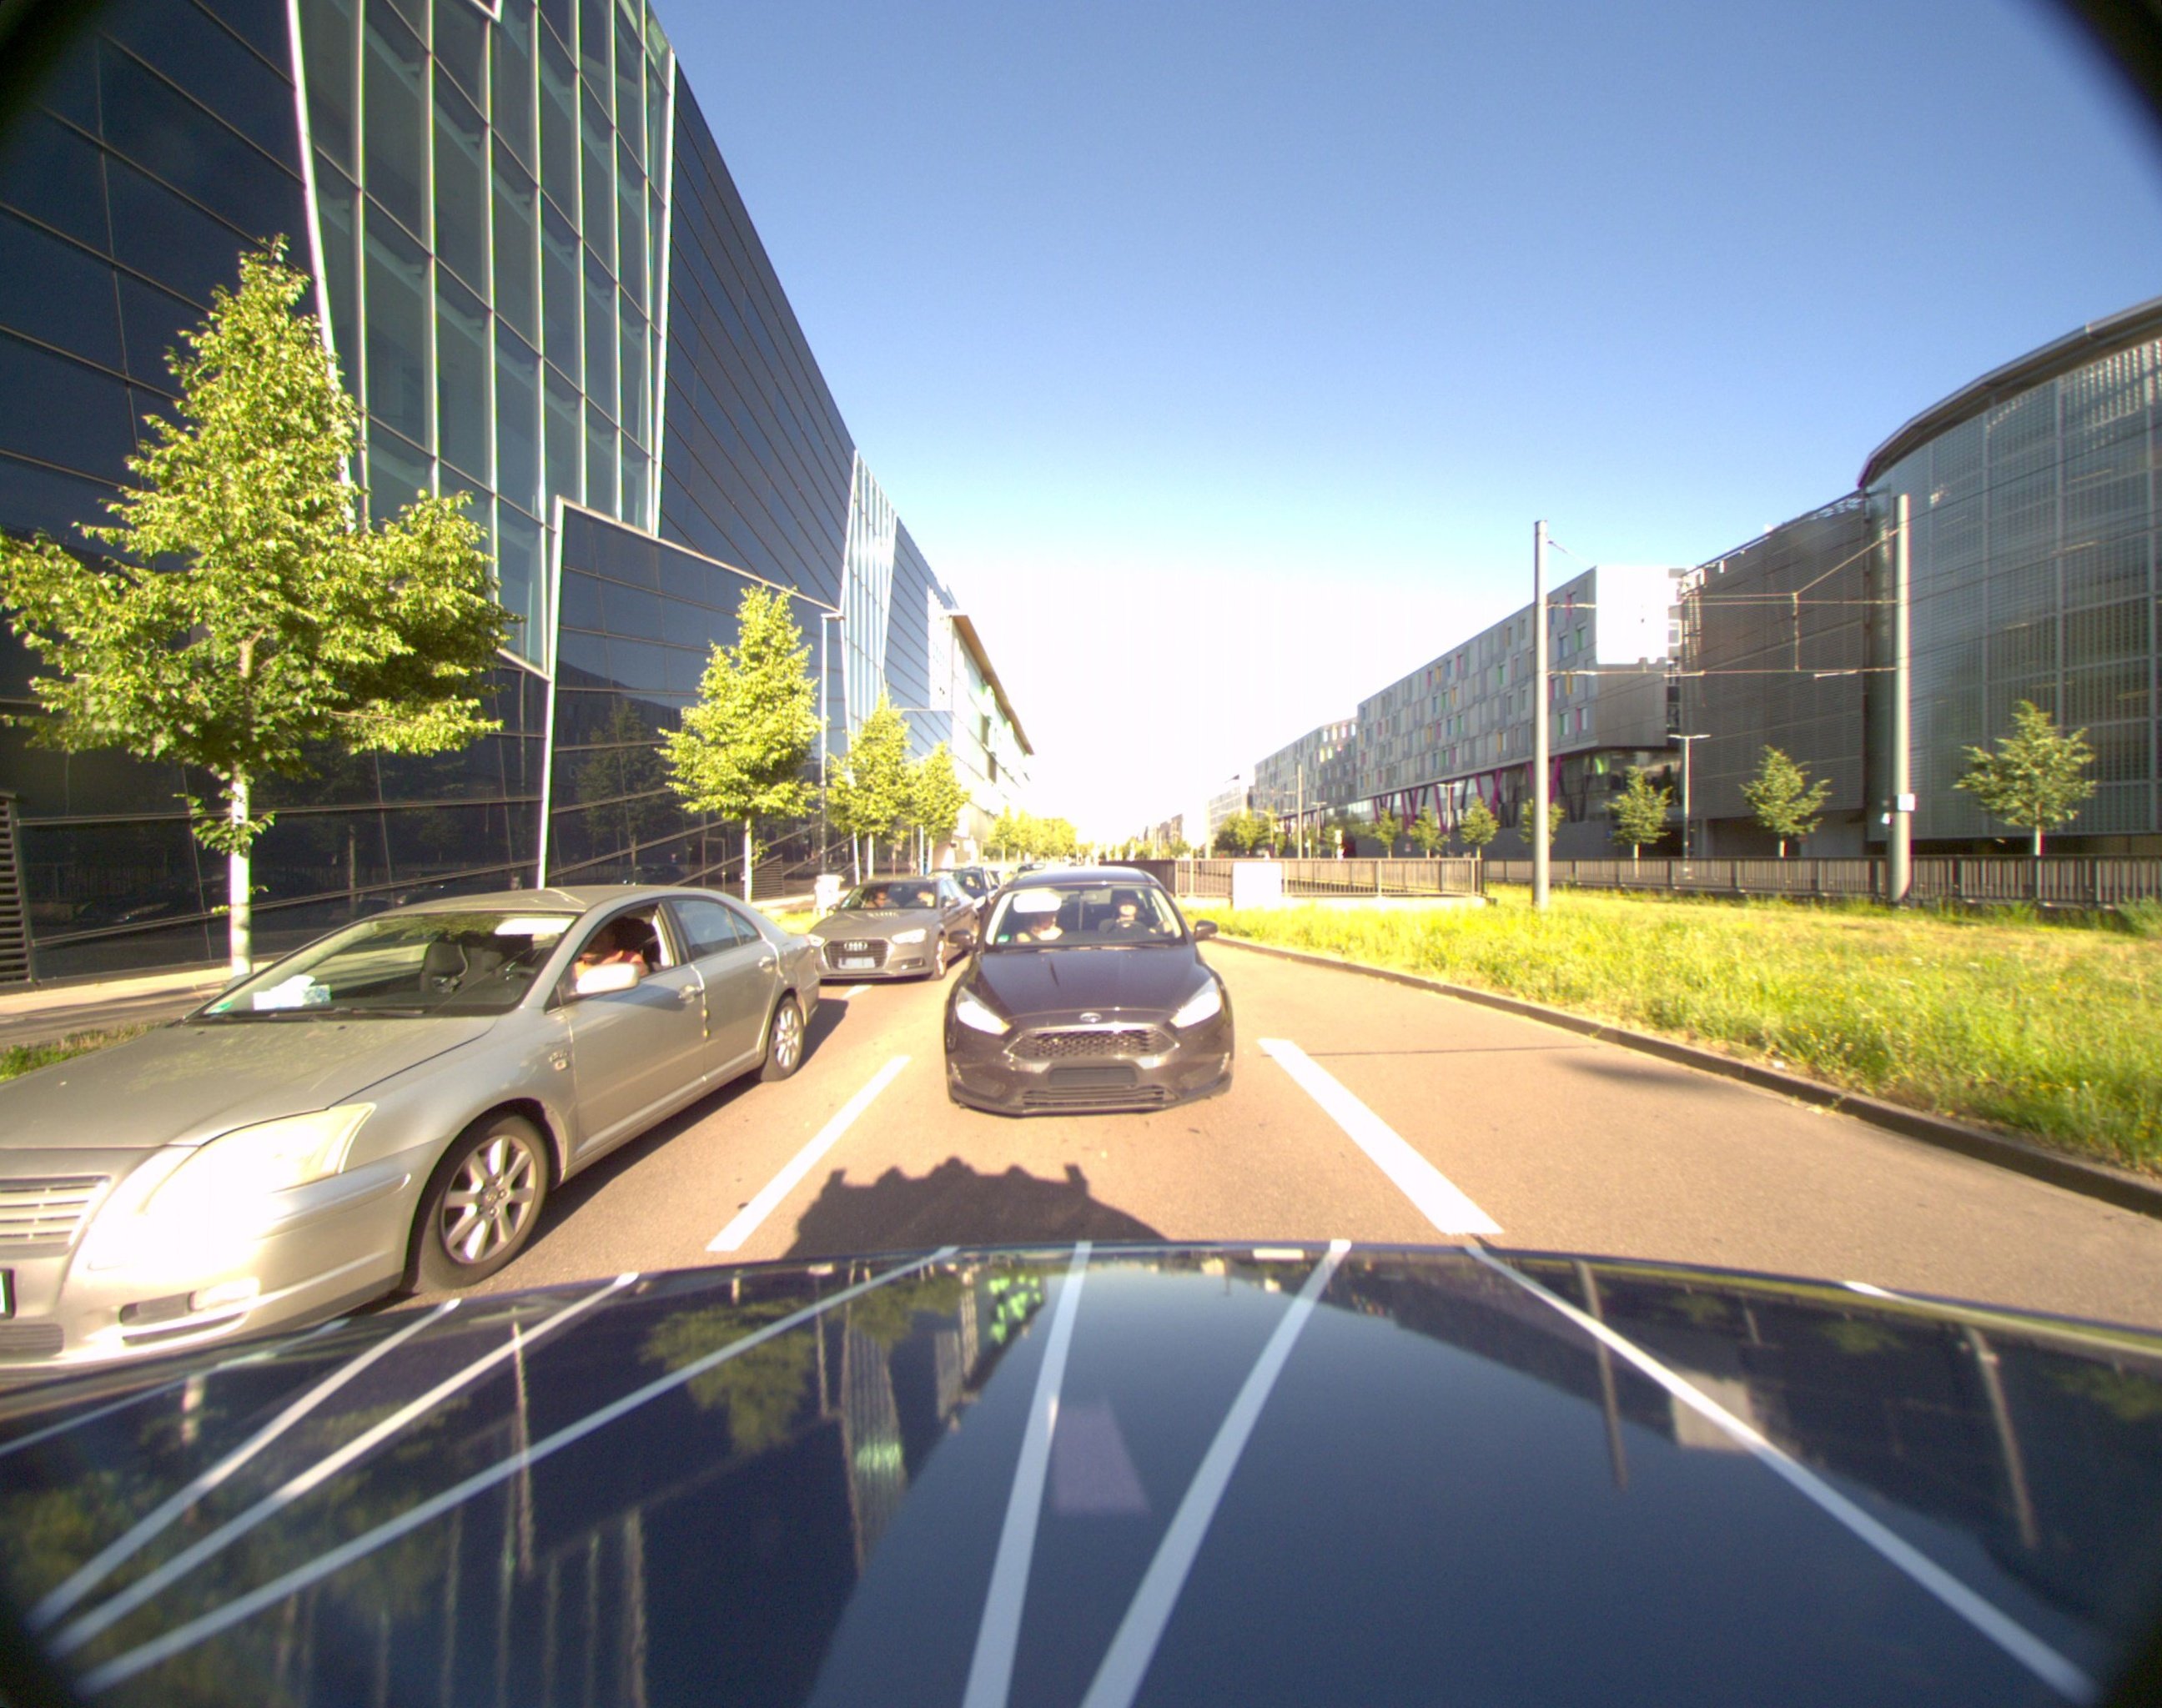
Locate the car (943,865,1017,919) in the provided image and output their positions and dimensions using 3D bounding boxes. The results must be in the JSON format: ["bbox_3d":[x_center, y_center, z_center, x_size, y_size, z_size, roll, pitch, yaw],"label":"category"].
[{"bbox_3d":[-3.024,1.105,23.435,1.753,1.469,3.418,-2,0,0],"label":"car"}]

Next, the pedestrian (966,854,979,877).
[{"bbox_3d":[-8.810,0.919,61.465,0.828,1.814,0.905,3,0,0],"label":"pedestrian"}]

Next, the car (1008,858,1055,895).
[{"bbox_3d":[-2.283,1.009,35.867,1.907,1.612,4.000,0,0,1],"label":"car"}]

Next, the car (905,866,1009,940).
[{"bbox_3d":[-2.800,1.056,17.965,1.753,1.469,3.972,-2,0,0],"label":"car"}]

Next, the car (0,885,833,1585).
[{"bbox_3d":[-3.046,1.020,4.146,1.750,1.473,4.628,-1,0,1],"label":"car"}]

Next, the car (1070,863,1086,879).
[{"bbox_3d":[-0.428,2.239,101.016,1.998,2.002,4.000,-2,1,1],"label":"car"}]

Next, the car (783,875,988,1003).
[{"bbox_3d":[-2.631,1.093,11.343,1.750,1.384,4.264,-2,0,2],"label":"car"}]

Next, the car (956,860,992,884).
[{"bbox_3d":[-7.171,1.201,51.228,1.740,1.489,4.715,1,0,0],"label":"car"}]

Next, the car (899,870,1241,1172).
[{"bbox_3d":[-0.045,0.944,6.366,1.787,1.499,4.590,-2,0,0],"label":"car"}]
